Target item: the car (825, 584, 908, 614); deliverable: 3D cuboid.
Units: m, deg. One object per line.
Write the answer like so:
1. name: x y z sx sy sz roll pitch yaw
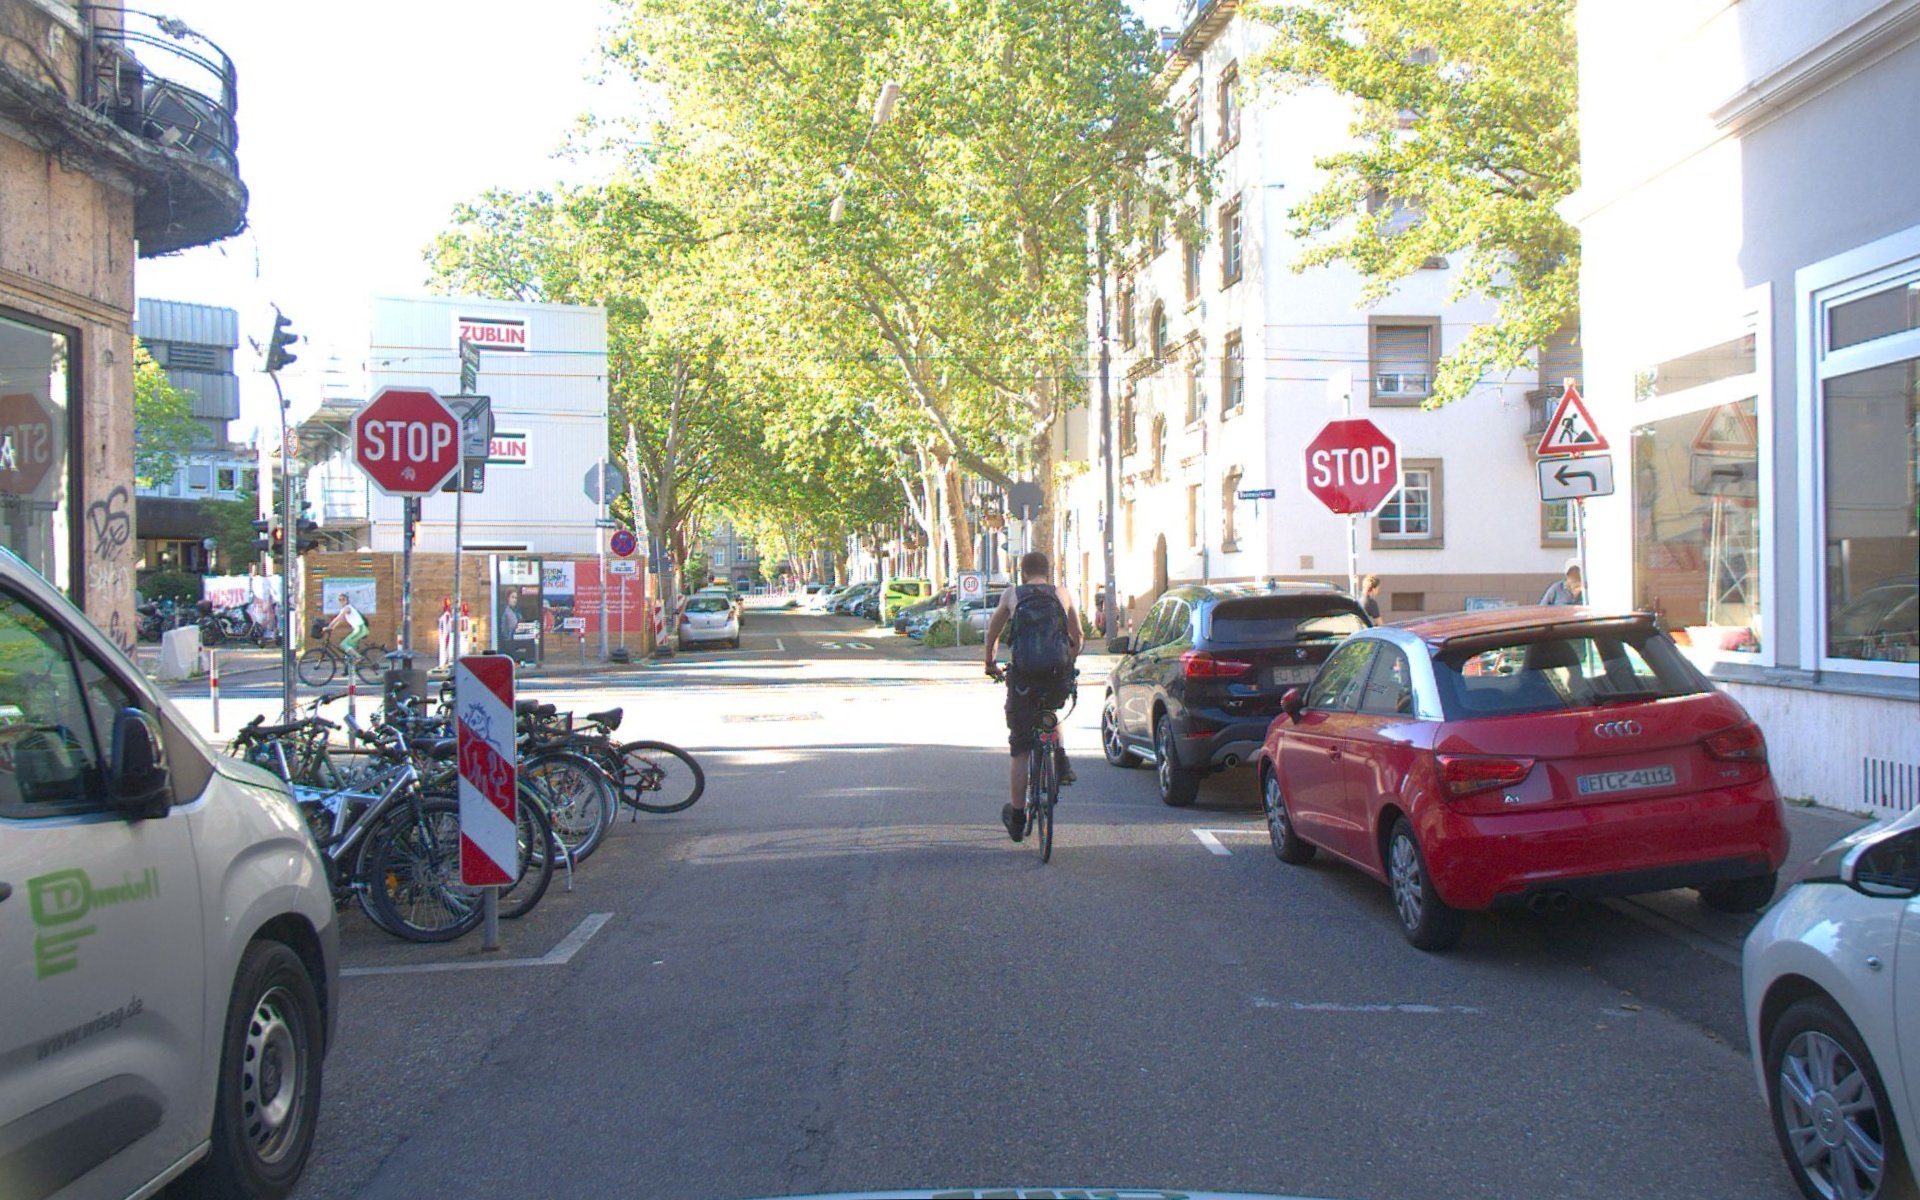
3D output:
1. car: -5.117 -0.063 90.296 4.379 1.598 1.725 -1 0 -9

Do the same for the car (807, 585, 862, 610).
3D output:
1. car: -10.223 -0.221 134.600 4.379 1.931 1.725 -1 0 -9

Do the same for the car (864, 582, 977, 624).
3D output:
1. car: -1.619 0.125 66.810 4.379 1.598 1.725 -1 0 -9

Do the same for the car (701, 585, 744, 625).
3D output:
1. car: -9.822 0.170 68.295 1.635 1.590 4.509 -1 1 -9

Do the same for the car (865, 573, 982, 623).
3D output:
1. car: -1.444 -0.081 64.801 4.380 1.868 1.724 -1 0 -10

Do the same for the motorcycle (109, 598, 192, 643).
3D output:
1. motorcycle: -24.475 0.618 50.011 0.534 1.279 2.197 0 2 44

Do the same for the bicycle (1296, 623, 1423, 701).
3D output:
1. bicycle: 5.391 0.834 22.354 1.591 1.034 0.553 0 -1 -5

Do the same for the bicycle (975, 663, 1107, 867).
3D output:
1. bicycle: 0.456 0.947 10.080 0.675 1.034 1.907 1 0 -1

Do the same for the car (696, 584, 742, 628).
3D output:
1. car: -9.171 0.189 62.633 1.635 1.590 3.991 -1 1 -9

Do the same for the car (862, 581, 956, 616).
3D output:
1. car: -2.480 -0.075 80.141 4.379 1.598 1.725 -1 0 -9

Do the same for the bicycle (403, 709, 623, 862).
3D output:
1. bicycle: -2.832 1.168 10.551 1.285 0.832 0.380 -3 1 -11

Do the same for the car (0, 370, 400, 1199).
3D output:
1. car: -2.506 0.609 2.608 1.645 1.943 4.518 -4 0 -1

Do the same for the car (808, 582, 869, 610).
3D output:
1. car: -9.018 -0.306 122.669 4.379 1.931 1.725 -1 0 -9

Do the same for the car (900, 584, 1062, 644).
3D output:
1. car: 0.571 0.386 46.966 4.379 1.598 1.725 -1 0 -9

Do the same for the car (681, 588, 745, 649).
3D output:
1. car: -6.954 0.480 46.385 1.613 1.520 3.991 -3 1 -9

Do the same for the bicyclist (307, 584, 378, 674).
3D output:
1. bicyclist: -11.741 0.556 31.472 1.076 1.668 0.894 -1 -1 -8

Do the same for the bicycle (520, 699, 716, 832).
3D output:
1. bicycle: -2.347 1.130 11.404 1.285 0.832 0.354 -1 0 -11

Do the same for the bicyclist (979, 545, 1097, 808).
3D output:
1. bicyclist: 0.461 0.446 10.035 0.662 1.539 0.668 1 0 -1

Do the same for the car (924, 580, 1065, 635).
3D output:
1. car: 1.111 0.218 54.016 4.379 1.700 1.725 -1 0 -9

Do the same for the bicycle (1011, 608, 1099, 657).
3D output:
1. bicycle: 2.142 0.718 37.325 1.892 1.036 0.677 -1 1 -26

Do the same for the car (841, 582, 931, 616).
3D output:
1. car: -3.749 -0.058 83.189 4.379 1.598 1.725 -1 0 -9

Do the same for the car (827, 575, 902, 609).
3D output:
1. car: -5.772 -0.495 99.924 4.379 1.931 1.725 -1 0 -9

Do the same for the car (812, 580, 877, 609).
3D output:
1. car: -8.078 -0.389 115.303 4.379 1.931 1.725 -1 0 -9

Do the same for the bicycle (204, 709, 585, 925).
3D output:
1. bicycle: -2.786 1.066 8.226 1.729 0.978 0.405 -1 0 -3

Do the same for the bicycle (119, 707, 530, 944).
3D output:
1. bicycle: -2.952 1.042 7.770 1.729 1.006 0.463 -1 0 -2

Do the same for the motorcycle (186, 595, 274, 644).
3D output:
1. motorcycle: -20.161 0.530 45.709 0.534 1.279 2.197 0 2 44

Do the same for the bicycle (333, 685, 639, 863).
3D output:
1. bicycle: -2.863 1.045 10.098 1.732 0.978 0.427 -1 0 -9

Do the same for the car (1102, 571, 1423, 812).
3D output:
1. car: 2.322 0.637 13.777 1.725 1.691 4.195 1 0 -3

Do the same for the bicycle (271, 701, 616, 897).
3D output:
1. bicycle: -2.809 1.077 9.080 1.729 0.978 0.443 -1 0 -3

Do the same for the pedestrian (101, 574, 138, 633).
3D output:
1. pedestrian: -29.697 0.116 58.444 0.784 2.049 0.939 -1 1 3

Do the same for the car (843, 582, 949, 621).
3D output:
1. car: -2.752 0.044 70.620 4.379 1.598 1.725 -1 0 -9

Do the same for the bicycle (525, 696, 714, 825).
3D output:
1. bicycle: -2.410 1.128 11.771 1.285 0.832 0.370 -1 0 -11

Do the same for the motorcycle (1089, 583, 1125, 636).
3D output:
1. motorcycle: 3.841 0.230 43.247 0.504 1.356 1.759 -1 1 -10

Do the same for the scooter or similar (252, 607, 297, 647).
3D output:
1. scooter or similar: -18.713 0.736 45.173 0.376 1.038 1.489 0 1 10

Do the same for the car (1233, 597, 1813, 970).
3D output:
1. car: 2.686 0.769 8.882 1.612 1.529 3.953 1 0 -3

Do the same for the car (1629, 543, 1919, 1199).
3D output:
1. car: 2.904 0.697 3.126 1.603 1.614 3.786 1 0 -3

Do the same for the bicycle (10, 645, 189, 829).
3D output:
1. bicycle: -5.789 0.881 11.207 0.389 1.111 1.591 -1 0 -1

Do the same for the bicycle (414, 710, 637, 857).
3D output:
1. bicycle: -2.853 1.199 10.933 1.362 0.832 0.361 -3 1 -11

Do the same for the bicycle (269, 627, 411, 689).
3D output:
1. bicycle: -11.762 1.086 31.447 2.377 1.112 0.894 -1 -1 -8

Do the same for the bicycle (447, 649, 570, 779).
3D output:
1. bicycle: -4.317 1.056 15.743 0.454 1.064 1.663 -1 3 -41

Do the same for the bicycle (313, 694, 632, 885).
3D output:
1. bicycle: -2.812 1.082 9.666 1.734 0.978 0.480 -1 0 -14

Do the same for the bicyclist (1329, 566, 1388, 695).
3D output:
1. bicyclist: 5.378 0.407 22.361 0.638 1.717 0.543 0 -1 -5

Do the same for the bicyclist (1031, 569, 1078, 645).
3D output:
1. bicyclist: 2.129 0.150 37.317 0.799 1.687 0.677 -1 0 -26

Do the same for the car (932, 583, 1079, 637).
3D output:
1. car: 1.398 0.297 51.953 4.379 1.598 1.725 -1 0 -9

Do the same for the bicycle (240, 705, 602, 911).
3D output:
1. bicycle: -2.792 1.072 8.644 1.729 0.978 0.422 -1 0 -3

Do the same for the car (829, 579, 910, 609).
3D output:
1. car: -5.059 -0.367 92.643 4.379 1.598 1.725 -1 0 -9
